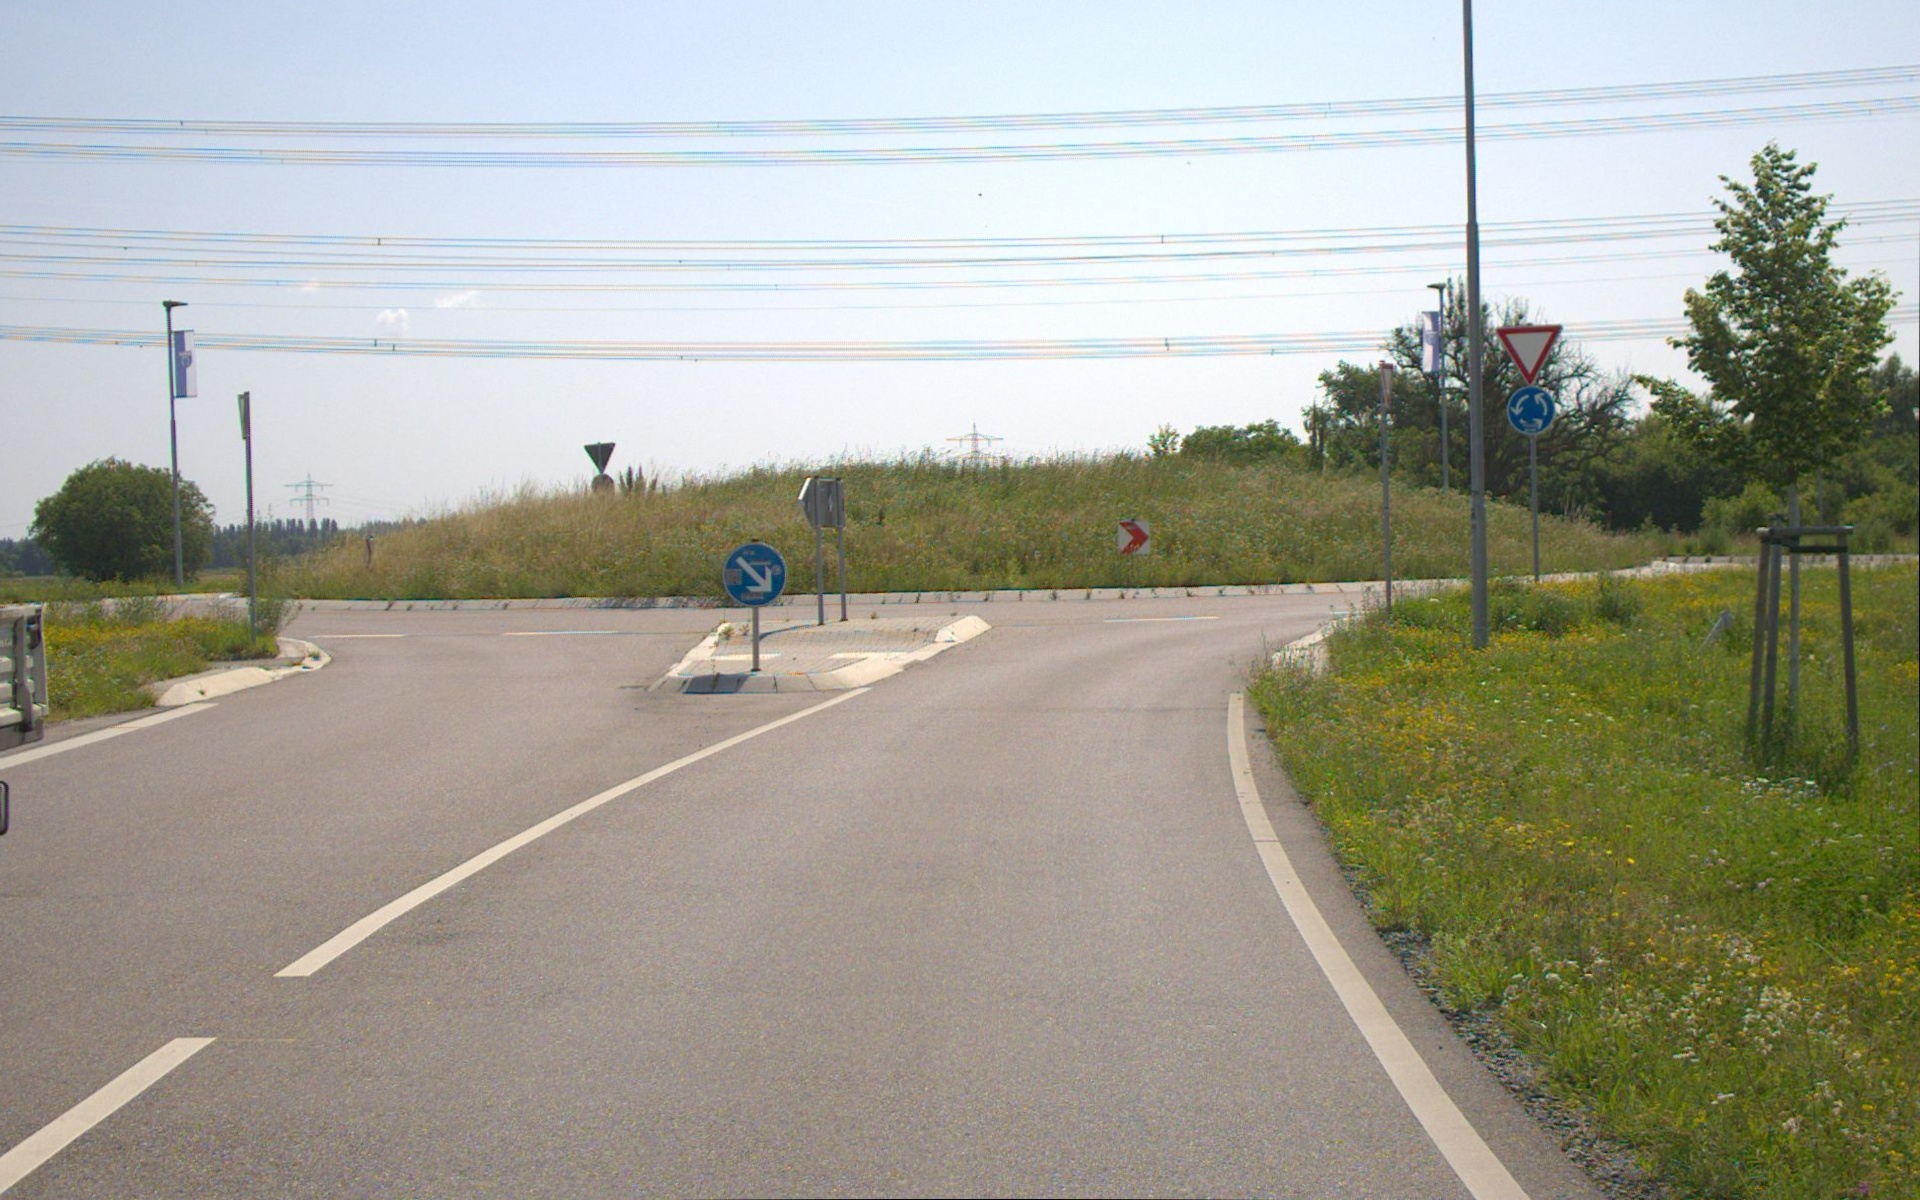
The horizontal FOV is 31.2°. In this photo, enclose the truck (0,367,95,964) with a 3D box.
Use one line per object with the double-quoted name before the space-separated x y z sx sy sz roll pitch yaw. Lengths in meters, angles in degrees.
"truck" -4.134 0.258 9.881 1.951 1.978 5.645 0 2 -1
